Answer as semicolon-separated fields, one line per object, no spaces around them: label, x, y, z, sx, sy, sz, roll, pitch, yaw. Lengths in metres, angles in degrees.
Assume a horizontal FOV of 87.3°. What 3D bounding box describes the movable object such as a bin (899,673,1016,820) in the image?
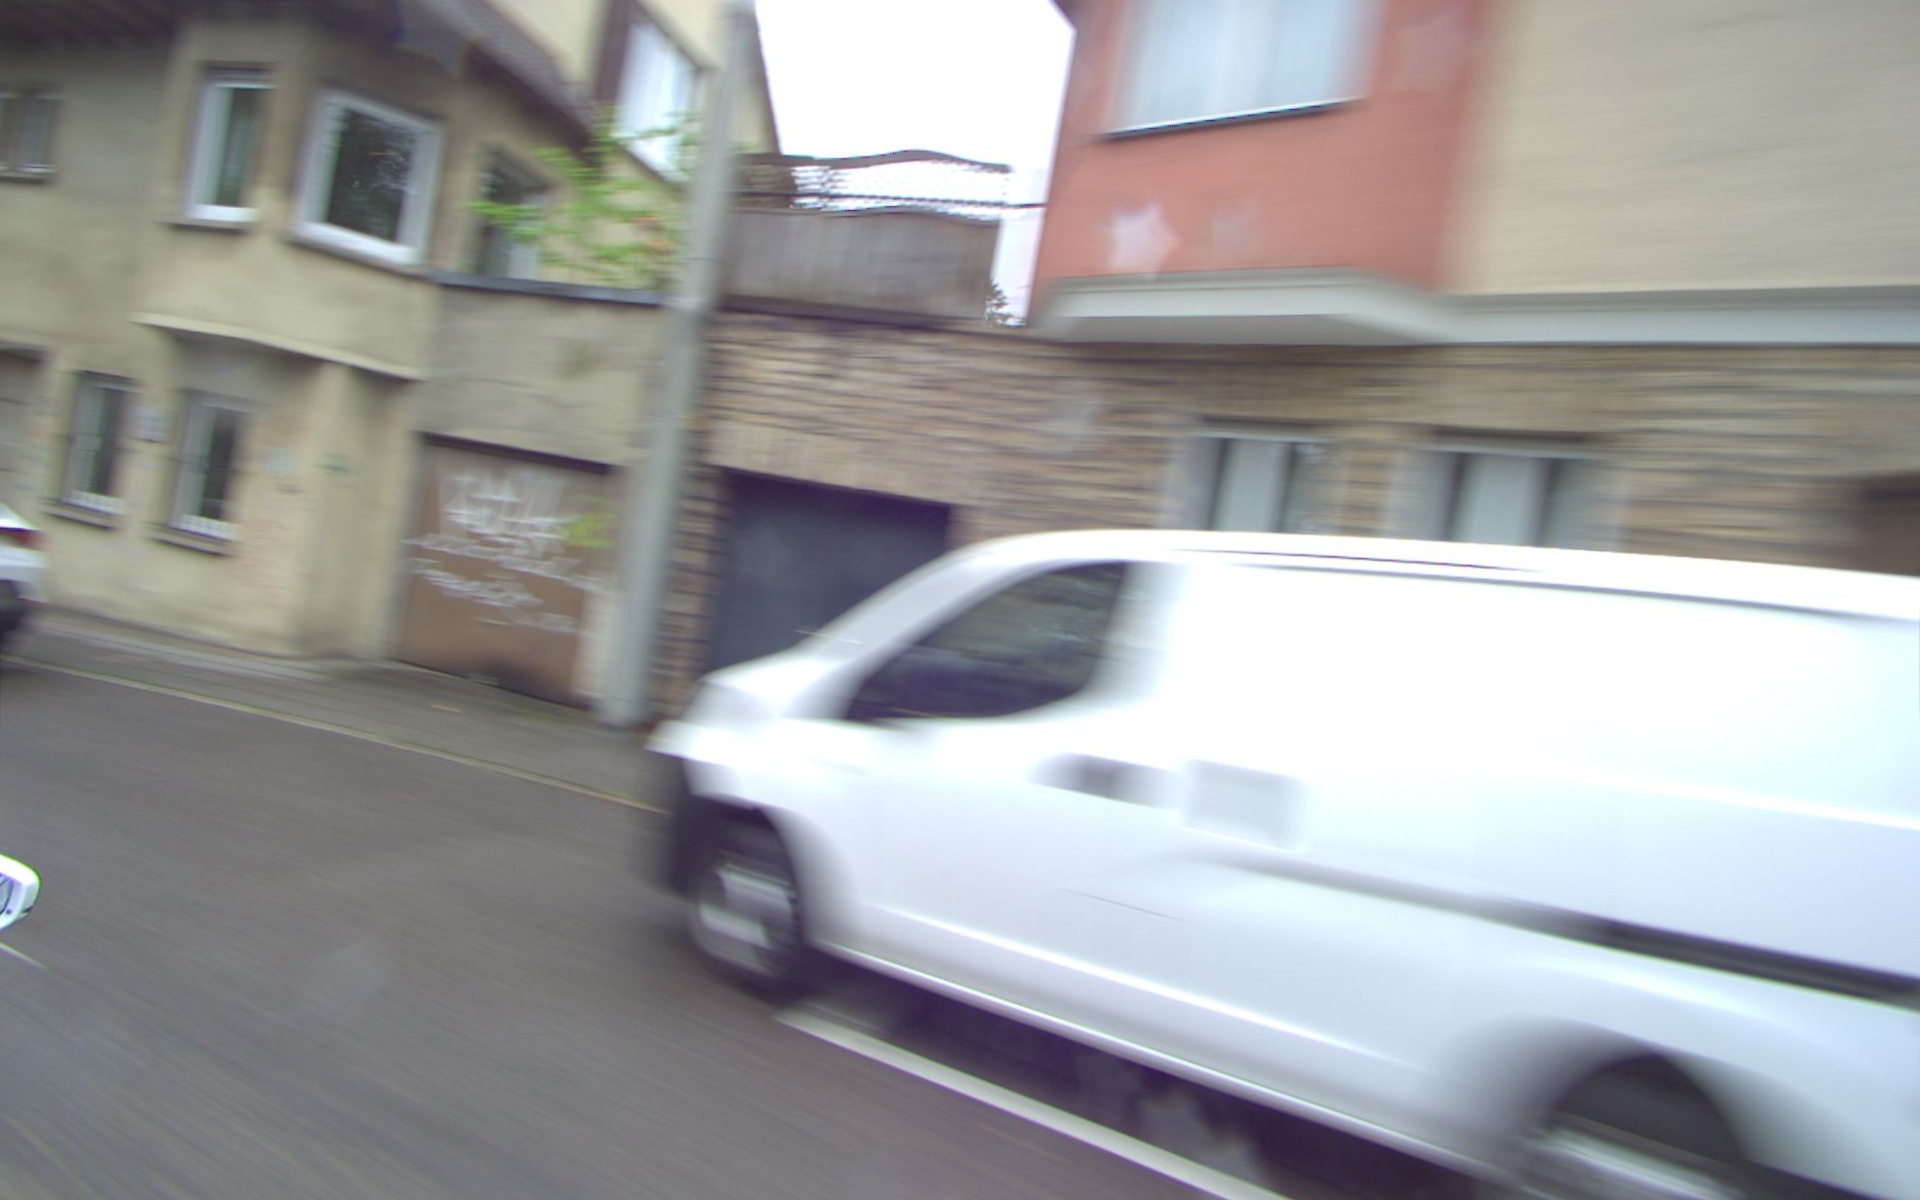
movable object such as a bin;-0.015;1.025;7.236;0.505;0.934;0.579;8;3;36

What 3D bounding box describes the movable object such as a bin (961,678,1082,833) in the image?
movable object such as a bin;0.425;1.036;6.897;0.505;0.934;0.579;8;3;36

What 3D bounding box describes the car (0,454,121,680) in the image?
car;-8.748;-0.470;7.110;4.330;1.558;1.920;7;1;10

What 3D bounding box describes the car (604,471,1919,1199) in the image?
car;0.947;0.671;3.587;4.252;1.814;1.707;7;2;30
